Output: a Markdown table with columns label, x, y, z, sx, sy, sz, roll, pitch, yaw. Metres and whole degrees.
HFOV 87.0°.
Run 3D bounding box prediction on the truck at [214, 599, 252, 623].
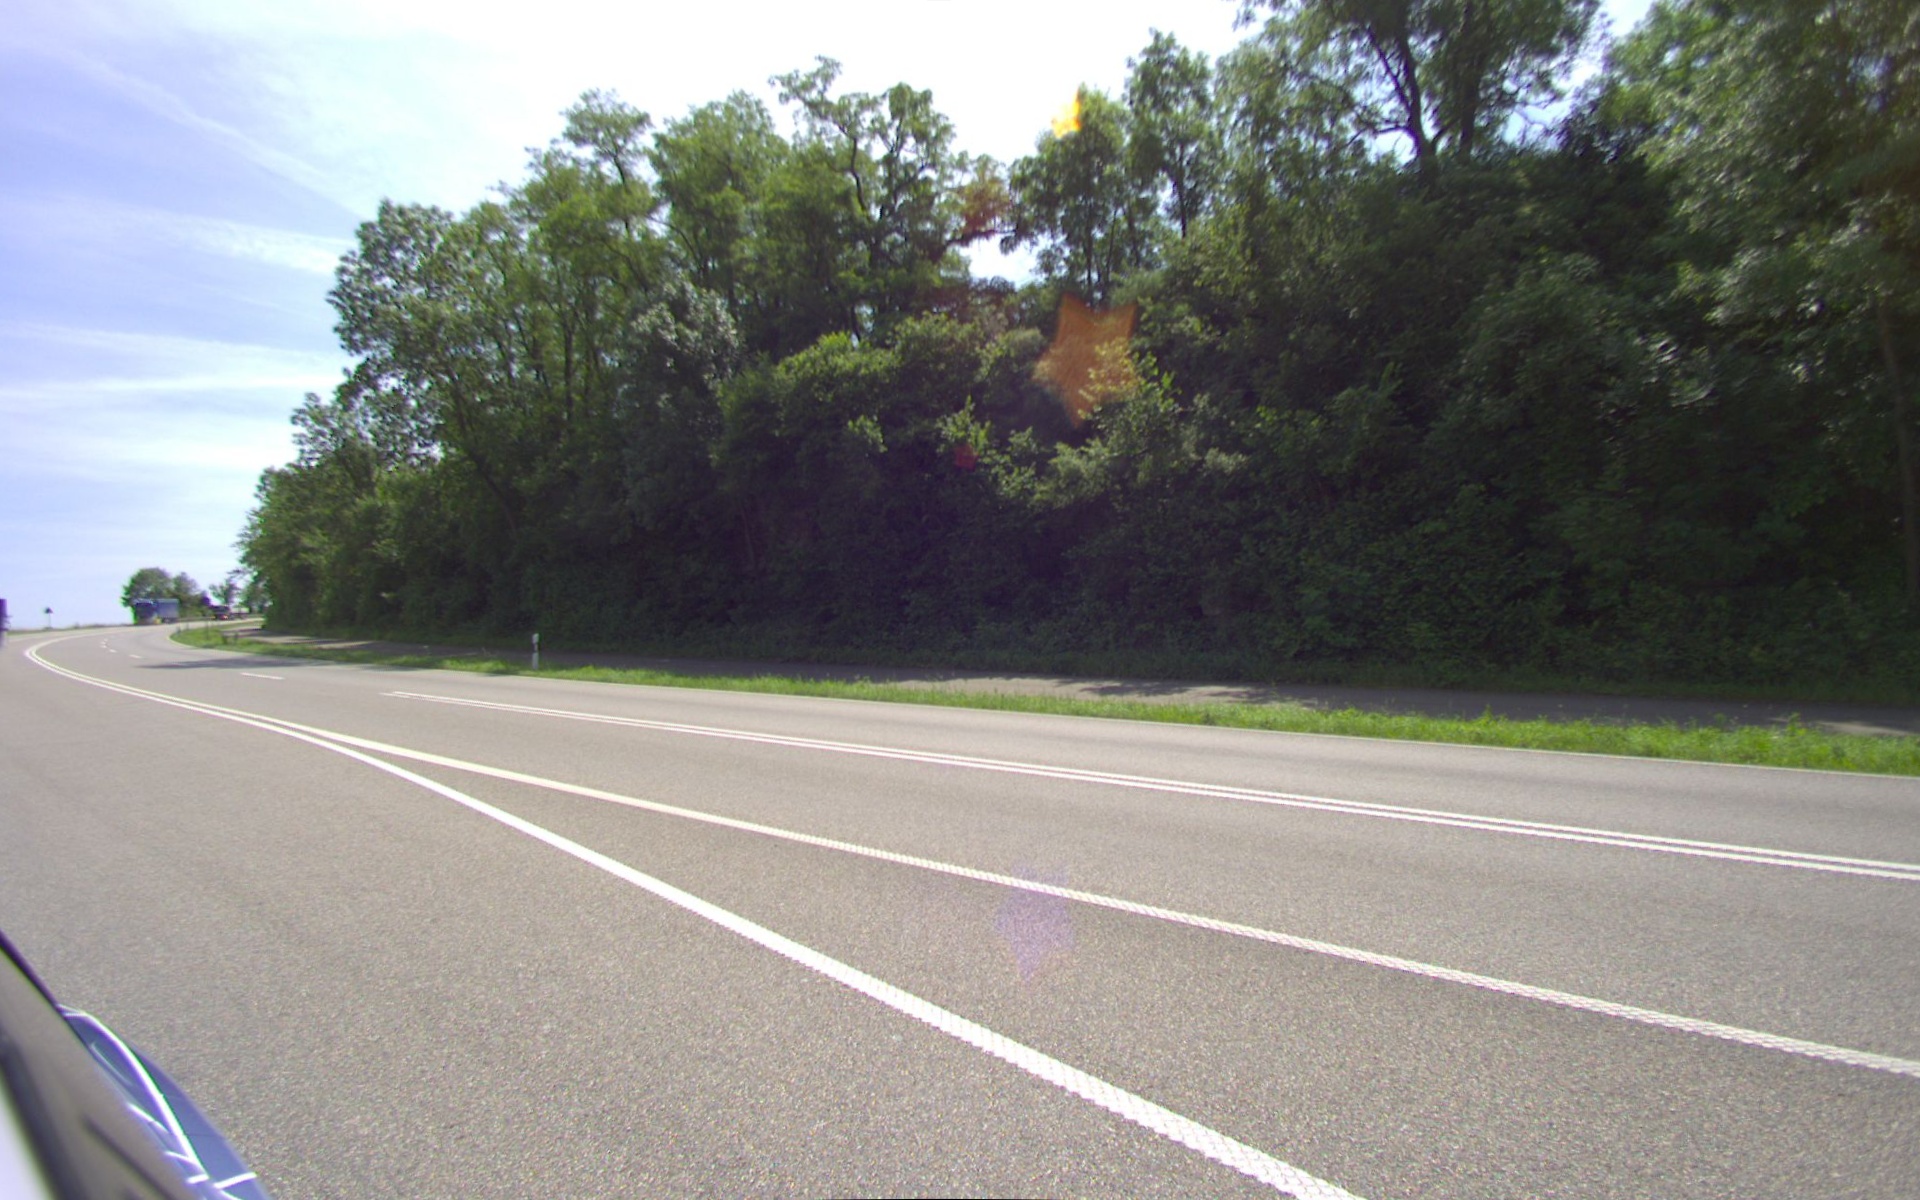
| label | x | y | z | sx | sy | sz | roll | pitch | yaw |
| --- | --- | --- | --- | --- | --- | --- | --- | --- | --- |
| truck | -145.175 | 2.222 | 202.178 | 3.920 | 4.493 | 14.387 | -1 | -1 | -27 |

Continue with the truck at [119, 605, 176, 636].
| label | x | y | z | sx | sy | sz | roll | pitch | yaw |
| --- | --- | --- | --- | --- | --- | --- | --- | --- | --- |
| truck | -127.215 | 3.197 | 158.693 | 4.325 | 4.493 | 14.758 | -1 | -1 | -28 |
